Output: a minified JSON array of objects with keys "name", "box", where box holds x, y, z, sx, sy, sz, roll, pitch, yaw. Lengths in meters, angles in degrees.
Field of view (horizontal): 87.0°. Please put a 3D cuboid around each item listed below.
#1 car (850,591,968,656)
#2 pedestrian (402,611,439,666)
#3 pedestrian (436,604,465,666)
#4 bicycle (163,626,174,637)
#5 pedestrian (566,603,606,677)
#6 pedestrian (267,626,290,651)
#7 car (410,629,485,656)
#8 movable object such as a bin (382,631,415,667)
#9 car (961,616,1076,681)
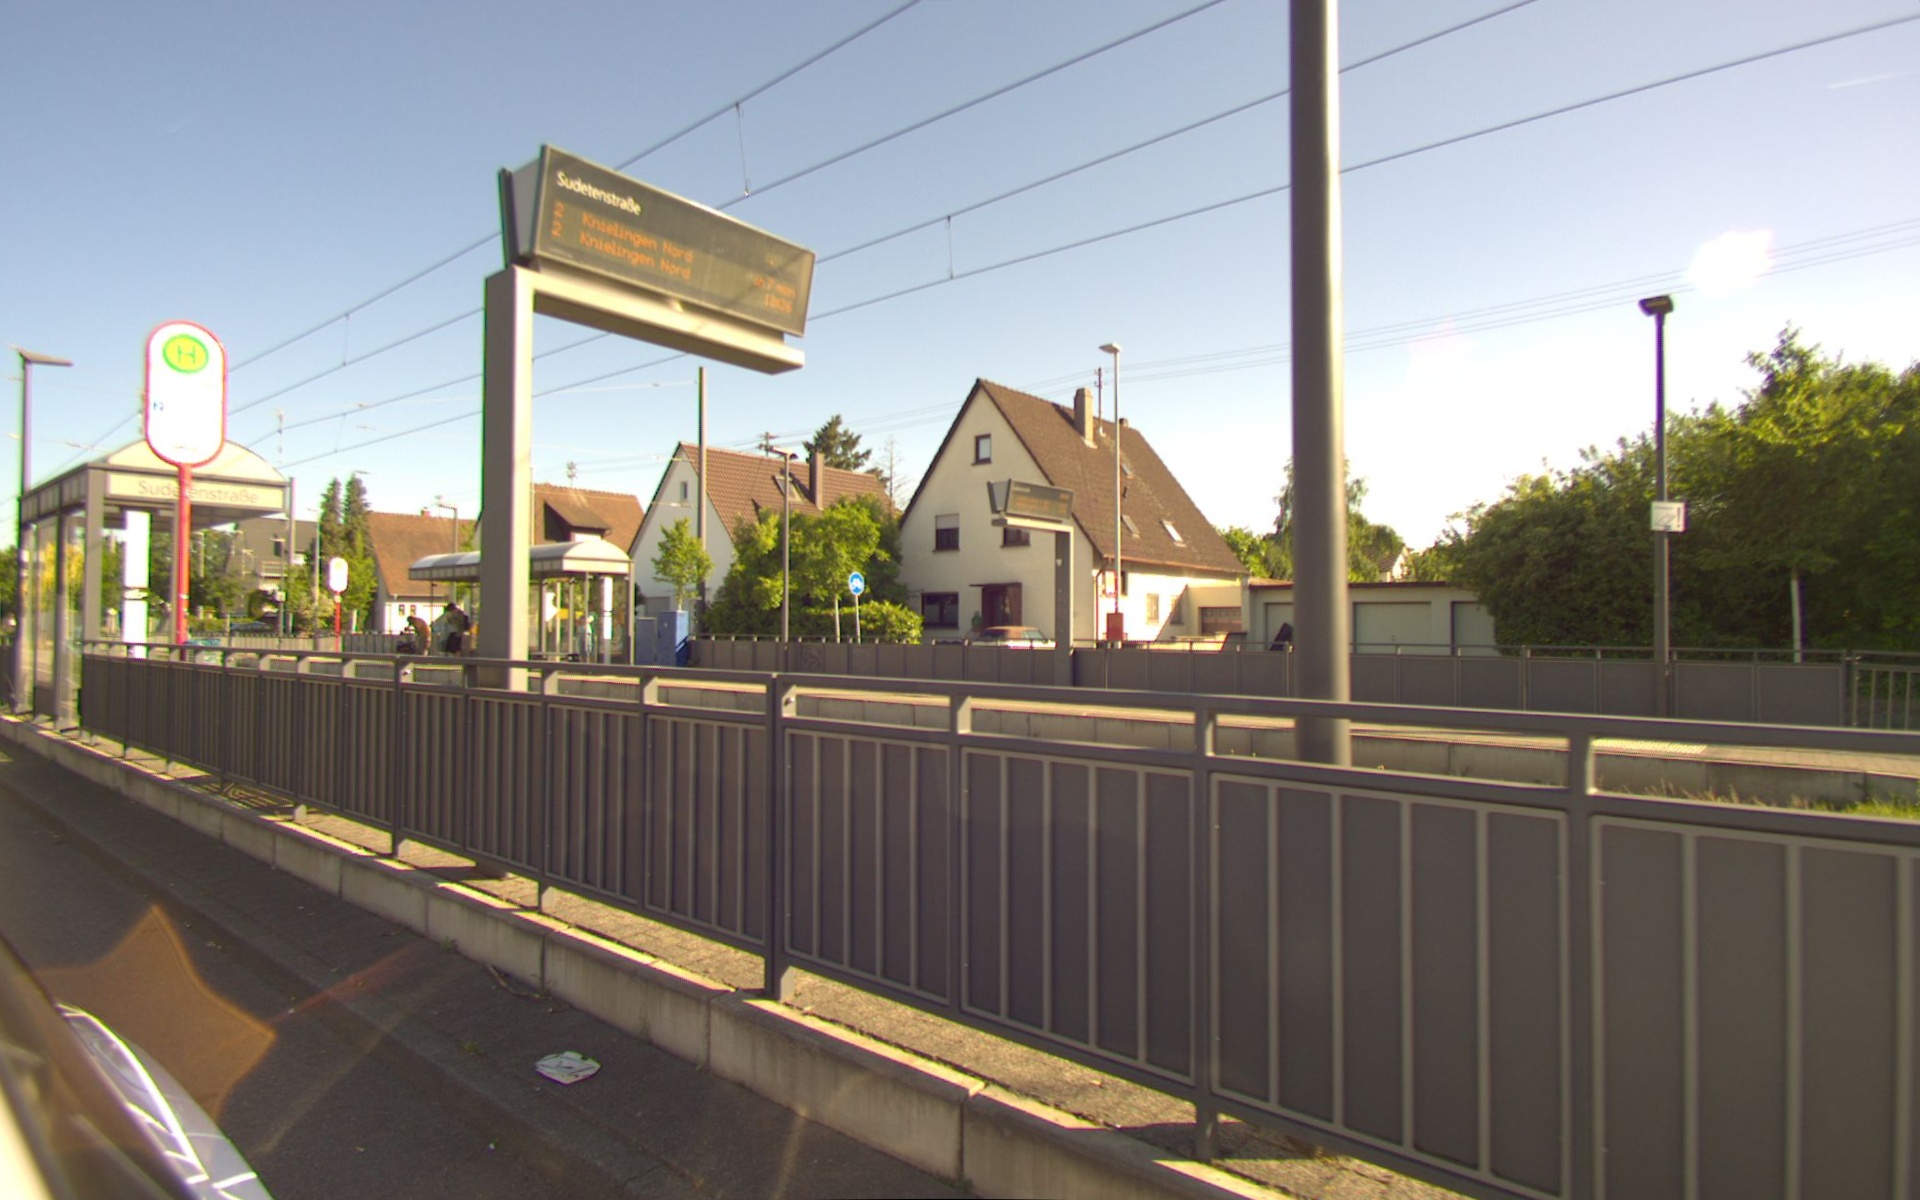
[{"name":"car","box":[-1.596,0.720,32.862,1.927,1.984,3.956,0,0,32]},{"name":"pedestrian","box":[-15.482,1.102,29.033,0.747,1.547,0.669,-1,-2,36]},{"name":"pedestrian","box":[-14.324,0.979,28.450,0.580,1.721,0.515,-1,-2,36]},{"name":"bicycle","box":[-68.620,2.736,87.708,1.747,0.949,0.419,0,0,40]},{"name":"pedestrian","box":[-8.777,0.936,23.764,0.771,1.709,0.495,-2,-5,41]},{"name":"pedestrian","box":[-43.979,2.477,65.318,1.085,1.653,0.955,-1,-2,40]},{"name":"car","box":[-29.036,2.370,57.230,5.158,1.461,1.915,-1,-2,40]},{"name":"movable object such as a bin","box":[-15.838,1.367,28.537,0.740,0.995,0.541,-1,-2,36]},{"name":"car","box":[1.857,1.423,31.261,1.796,1.820,3.810,-1,0,36]}]
